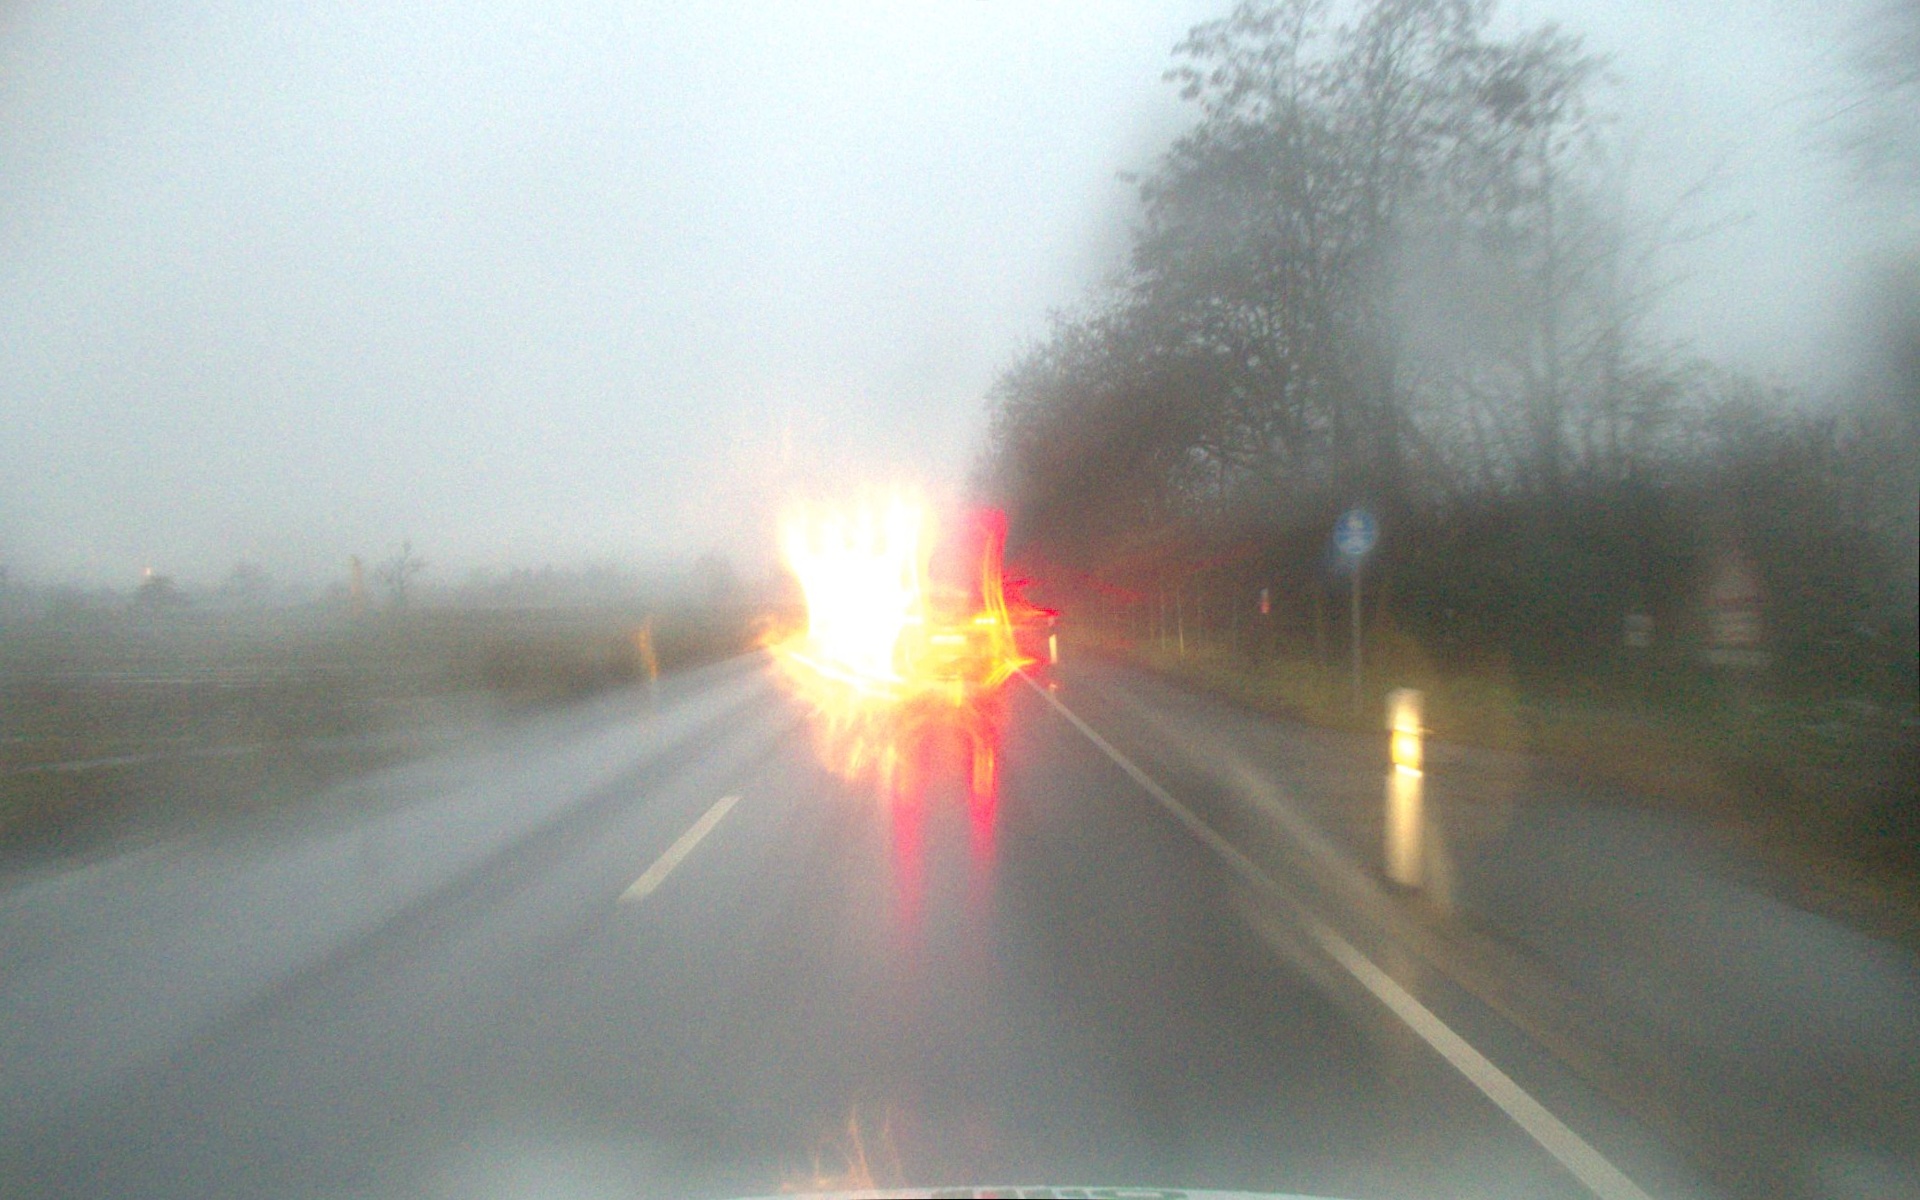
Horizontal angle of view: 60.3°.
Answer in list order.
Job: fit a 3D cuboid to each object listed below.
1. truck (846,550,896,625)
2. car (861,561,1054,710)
[{"bbox_3d":[-5.127,-0.731,96.334,2.670,4.177,6.586,-1,0,-2],"label":"truck"},{"bbox_3d":[-0.055,0.519,26.742,2.763,2.113,5.803,1,0,-1],"label":"car"}]
